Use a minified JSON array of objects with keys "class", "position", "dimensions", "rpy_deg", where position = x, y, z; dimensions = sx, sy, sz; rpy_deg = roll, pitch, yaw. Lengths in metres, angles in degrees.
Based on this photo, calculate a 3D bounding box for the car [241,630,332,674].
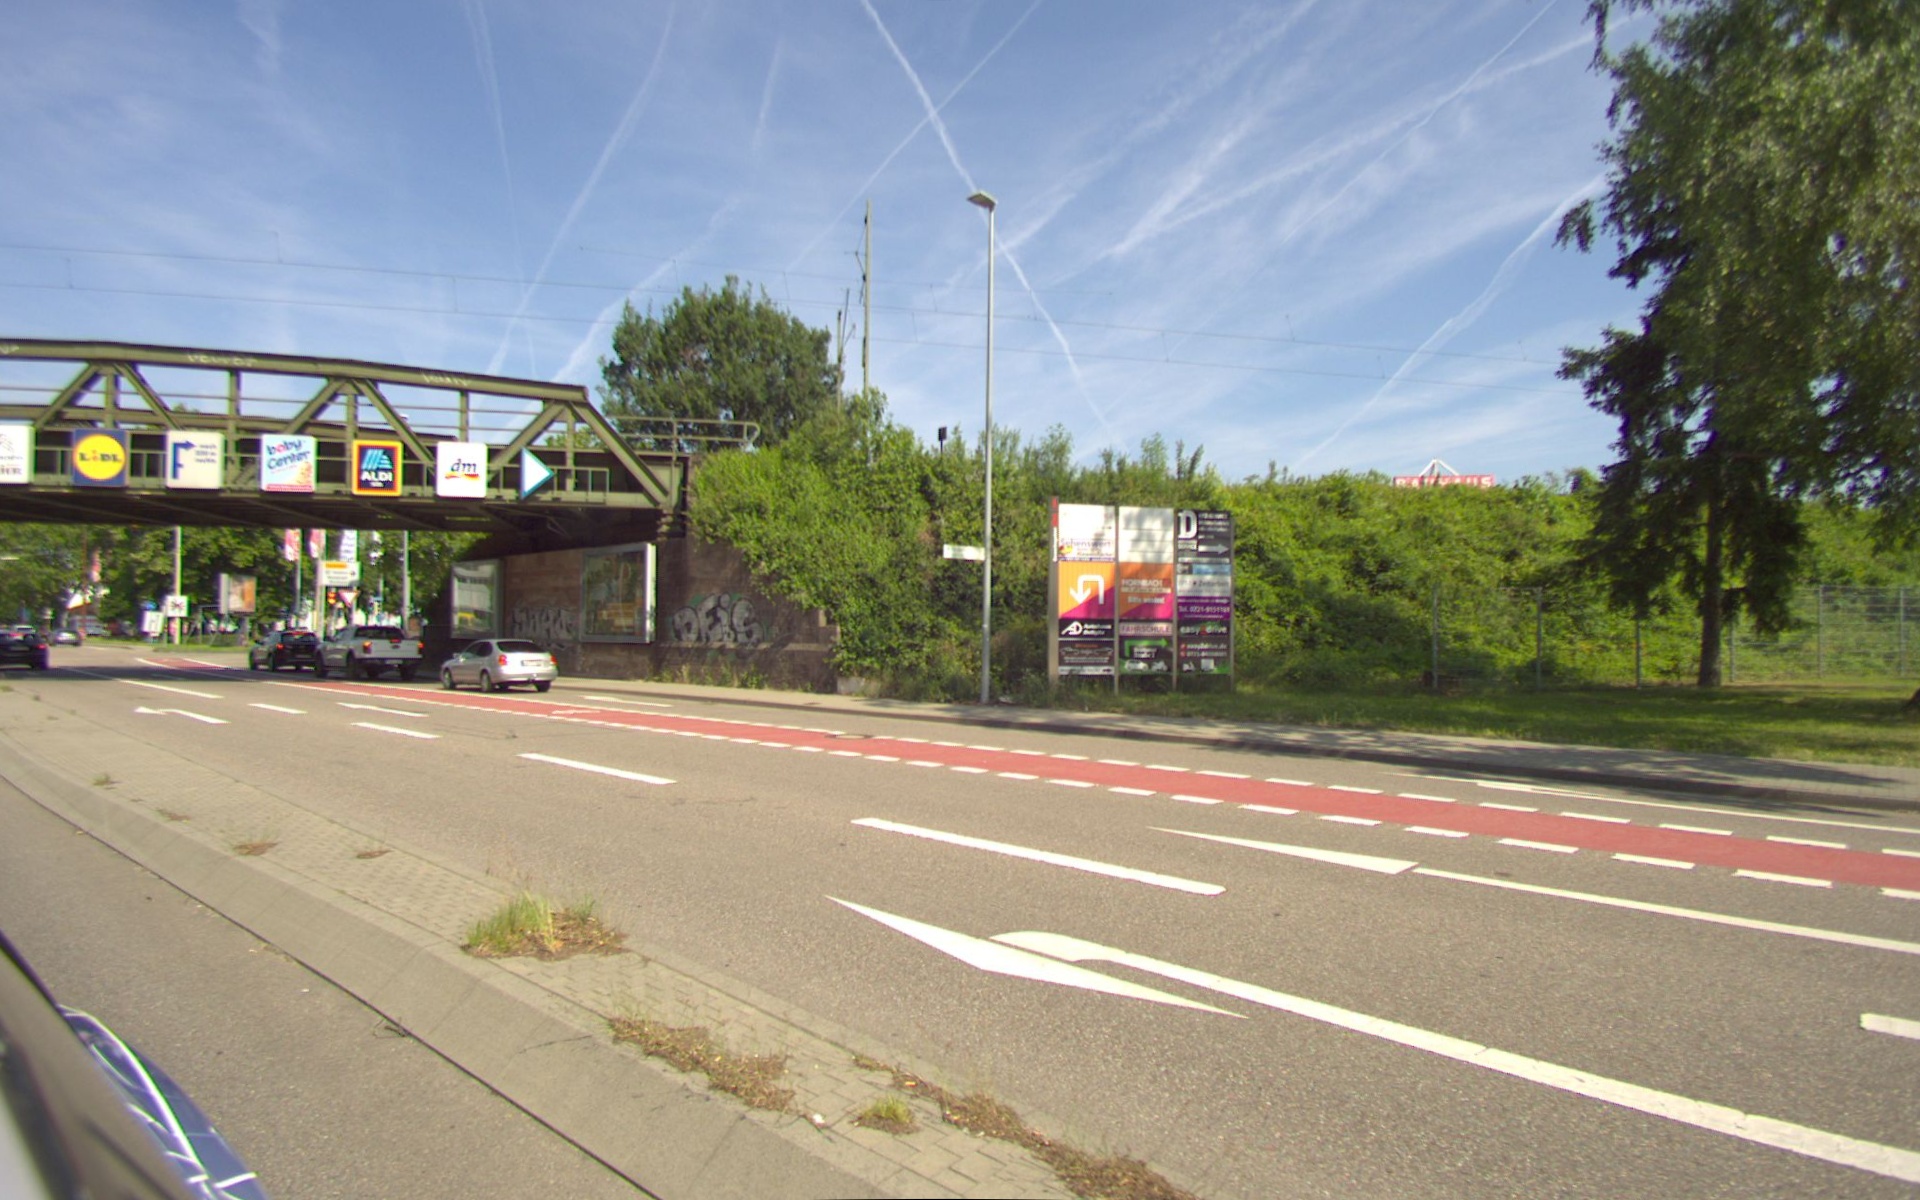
[{"class":"car","position":[-26.334,1.993,39.514],"dimensions":[4.385,1.608,1.853],"rpy_deg":[-2,-3,41]}]

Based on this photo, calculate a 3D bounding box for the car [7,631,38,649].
[{"class":"car","position":[-92.400,3.923,99.766],"dimensions":[3.633,1.735,1.801],"rpy_deg":[-1,-1,39]}]

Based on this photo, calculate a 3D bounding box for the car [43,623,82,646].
[{"class":"car","position":[-71.820,2.725,80.949],"dimensions":[3.633,1.735,1.801],"rpy_deg":[-1,-1,39]}]

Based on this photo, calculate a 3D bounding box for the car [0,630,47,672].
[{"class":"car","position":[-34.756,1.819,36.849],"dimensions":[4.119,1.458,1.762],"rpy_deg":[-1,-3,42]}]

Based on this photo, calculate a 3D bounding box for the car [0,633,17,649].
[{"class":"car","position":[-109.176,4.690,115.434],"dimensions":[3.821,1.735,1.903],"rpy_deg":[-1,-1,39]}]

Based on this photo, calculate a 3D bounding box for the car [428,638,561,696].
[{"class":"car","position":[-12.477,1.737,27.014],"dimensions":[4.317,1.398,1.618],"rpy_deg":[-2,-4,42]}]

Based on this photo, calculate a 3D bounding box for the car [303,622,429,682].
[{"class":"car","position":[-20.123,1.738,34.185],"dimensions":[5.448,1.875,1.972],"rpy_deg":[-2,-5,41]}]
